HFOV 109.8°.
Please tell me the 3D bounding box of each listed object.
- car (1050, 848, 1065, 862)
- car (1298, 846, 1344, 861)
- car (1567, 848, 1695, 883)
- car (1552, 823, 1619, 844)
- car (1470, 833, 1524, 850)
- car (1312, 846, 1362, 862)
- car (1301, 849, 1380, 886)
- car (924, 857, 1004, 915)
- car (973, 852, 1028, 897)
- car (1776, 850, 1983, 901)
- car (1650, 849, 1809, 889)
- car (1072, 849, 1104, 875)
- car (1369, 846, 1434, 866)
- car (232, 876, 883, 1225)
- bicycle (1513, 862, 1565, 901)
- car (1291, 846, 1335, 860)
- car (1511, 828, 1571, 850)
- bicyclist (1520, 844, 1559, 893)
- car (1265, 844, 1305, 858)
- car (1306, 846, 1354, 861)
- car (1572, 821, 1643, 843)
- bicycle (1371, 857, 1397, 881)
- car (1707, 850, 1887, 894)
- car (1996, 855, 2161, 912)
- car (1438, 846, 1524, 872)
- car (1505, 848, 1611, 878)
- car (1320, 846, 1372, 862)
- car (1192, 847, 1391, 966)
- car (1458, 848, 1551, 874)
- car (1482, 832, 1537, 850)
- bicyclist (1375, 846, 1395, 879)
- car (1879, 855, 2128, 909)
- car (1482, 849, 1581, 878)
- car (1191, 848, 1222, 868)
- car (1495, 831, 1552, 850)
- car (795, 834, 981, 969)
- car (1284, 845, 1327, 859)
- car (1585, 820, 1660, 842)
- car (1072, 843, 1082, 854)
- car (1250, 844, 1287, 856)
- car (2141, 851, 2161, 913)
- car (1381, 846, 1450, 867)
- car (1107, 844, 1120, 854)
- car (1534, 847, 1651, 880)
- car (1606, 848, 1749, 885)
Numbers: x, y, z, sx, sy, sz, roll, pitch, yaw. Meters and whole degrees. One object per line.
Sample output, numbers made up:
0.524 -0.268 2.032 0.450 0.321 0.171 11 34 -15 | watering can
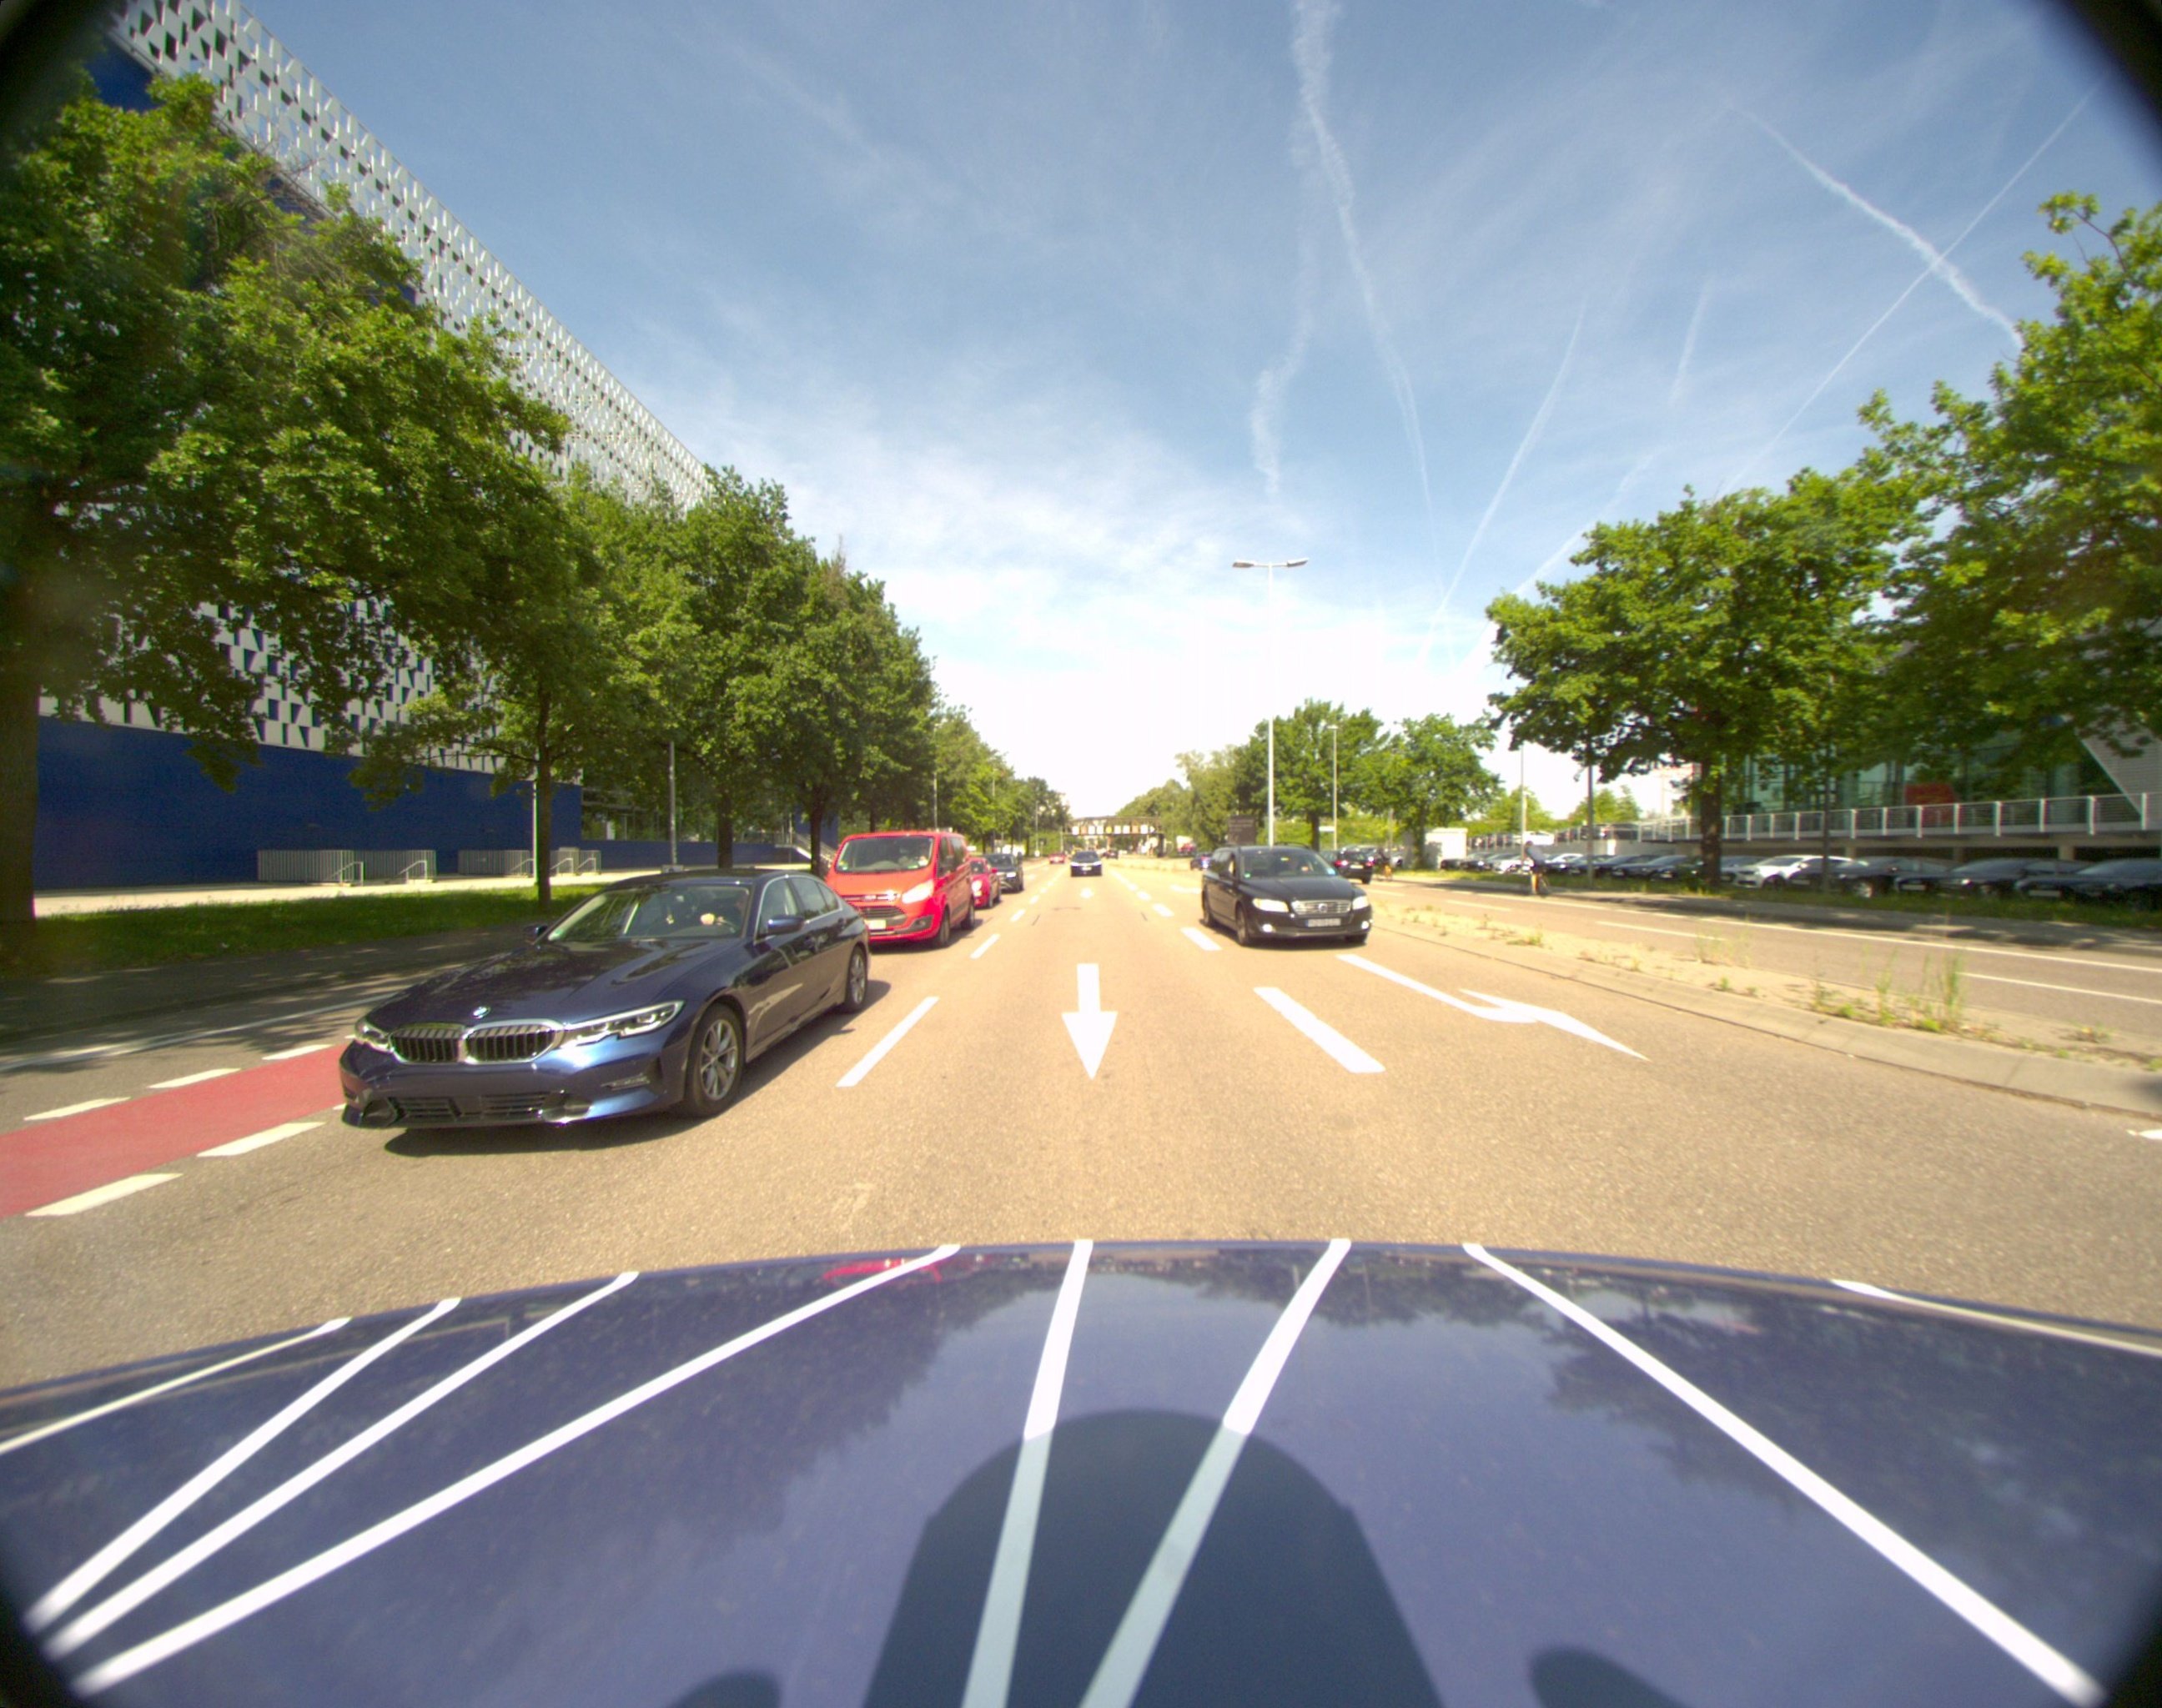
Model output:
-2.848 0.120 91.331 1.649 1.531 3.999 -3 1 -1 | car
24.801 -0.089 78.606 4.196 1.315 1.690 3 1 2 | car
23.537 0.469 32.634 4.196 1.252 1.690 3 1 2 | car
40.781 -1.677 61.509 4.196 1.490 1.690 3 1 2 | car
40.485 -1.199 73.989 4.196 1.490 1.690 3 1 2 | car
24.685 -0.037 73.375 4.196 1.315 1.690 3 1 2 | car
11.547 0.556 34.194 1.851 1.451 4.663 2 1 -1 | car
-3.260 0.846 21.820 1.692 1.414 3.915 -1 1 -1 | car
-3.046 0.735 29.400 1.649 1.531 3.999 -3 1 -1 | car
23.486 0.604 22.462 4.196 1.239 1.690 3 1 2 | car
23.312 0.532 27.415 4.196 1.198 1.690 3 1 2 | car
0.382 0.452 45.791 1.848 1.531 3.999 0 1 0 | car
24.265 0.146 57.608 4.196 1.315 1.690 3 1 2 | car
-3.015 0.981 5.799 1.800 1.421 4.537 -1 1 0 | car
14.368 0.847 23.880 0.572 1.143 1.925 0 1 3 | bicycle
24.735 -0.145 81.106 4.196 1.315 1.690 3 1 2 | car
40.351 -1.320 66.705 4.196 1.722 1.690 3 1 2 | car
14.367 0.438 23.835 0.571 1.474 1.143 0 1 3 | bicyclist
23.956 -0.379 89.337 4.196 1.490 1.690 3 1 2 | car
24.855 -0.090 76.059 4.196 1.315 1.690 3 1 2 | car
40.660 -1.677 58.777 4.196 1.490 1.690 3 1 2 | car
14.654 0.712 36.773 0.572 1.143 1.770 1 1 3 | bicycle
23.407 0.566 24.960 4.196 1.188 1.690 3 1 2 | car
23.484 0.690 16.848 4.196 1.128 1.695 3 1 2 | car
23.862 0.302 45.429 4.196 1.315 1.690 3 1 2 | car
23.763 0.439 37.957 4.196 1.248 1.690 3 1 2 | car
24.677 -0.030 70.838 4.196 1.315 1.690 3 1 2 | car
3.150 0.681 12.510 1.882 1.513 4.868 -2 0 0 | car
23.892 0.368 42.960 4.196 1.239 1.690 3 1 2 | car
40.382 -1.214 71.699 4.196 1.490 1.690 3 1 2 | car
14.648 0.399 36.622 0.578 1.587 0.910 1 1 2 | bicyclist
23.649 0.689 19.603 4.196 1.116 1.719 3 1 2 | car
23.860 0.505 40.363 4.196 1.317 1.690 3 1 2 | car
9.752 0.287 59.263 1.732 1.430 3.869 2 1 0 | car
40.374 -1.203 69.365 4.196 1.490 1.690 3 1 2 | car
-3.126 0.668 13.472 2.014 1.896 4.809 -2 1 0 | car
24.787 -0.216 83.896 4.196 1.315 1.690 3 1 2 | car
39.975 -1.659 56.155 4.196 1.397 1.690 3 1 2 | car
-0.772 -1.064 149.658 1.998 2.002 3.999 -3 2 0 | car
23.953 -0.491 97.121 4.196 1.371 1.690 3 1 2 | car
23.394 0.660 14.299 4.196 1.220 1.797 3 1 2 | car
24.232 0.157 55.062 4.196 1.315 1.690 3 1 2 | car
5.011 -0.754 117.185 1.866 1.503 4.000 0 0 2 | car
23.688 0.426 35.269 4.196 1.291 1.690 3 1 2 | car
23.430 0.477 29.938 4.196 1.247 1.690 3 1 2 | car
